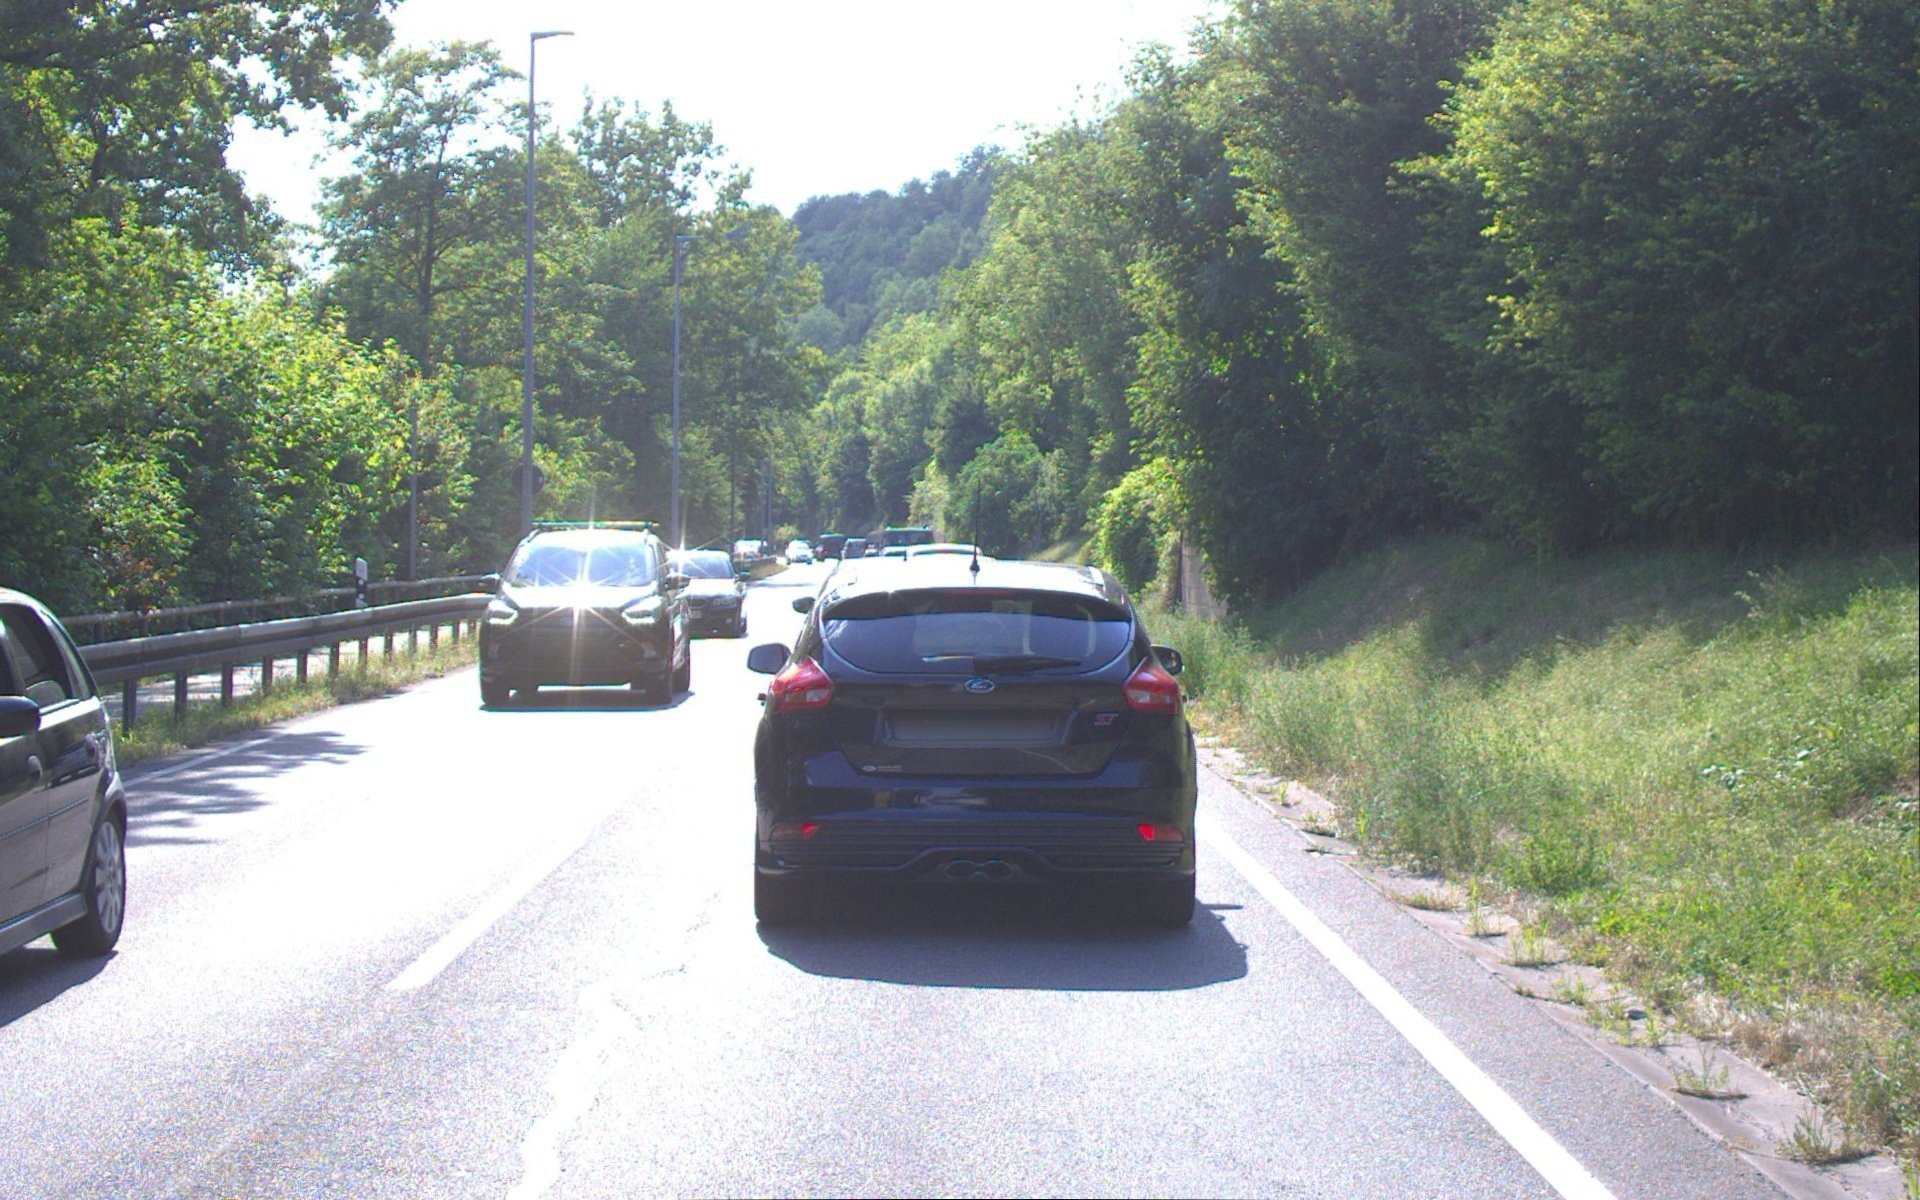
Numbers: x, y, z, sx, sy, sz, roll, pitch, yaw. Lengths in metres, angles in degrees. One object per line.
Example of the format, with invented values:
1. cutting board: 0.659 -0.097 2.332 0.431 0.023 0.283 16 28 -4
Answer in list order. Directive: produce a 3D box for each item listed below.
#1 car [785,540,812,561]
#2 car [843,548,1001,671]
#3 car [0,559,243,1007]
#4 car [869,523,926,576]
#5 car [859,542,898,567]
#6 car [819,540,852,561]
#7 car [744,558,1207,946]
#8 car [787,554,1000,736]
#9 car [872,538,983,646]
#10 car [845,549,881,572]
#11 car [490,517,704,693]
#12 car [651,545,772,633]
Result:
1. car: -11.014 -3.353 234.250 1.622 1.372 4.048 -2 1 -5
2. car: -0.459 0.083 41.340 1.804 1.387 4.000 0 1 -1
3. car: -3.967 0.576 12.998 1.681 1.437 4.000 0 1 0
4. car: -2.189 -1.753 118.985 1.863 1.774 4.001 0 1 -2
5. car: -5.077 -2.822 213.102 1.993 1.514 4.001 0 1 -8
6. car: -8.998 -3.602 248.260 1.993 1.514 4.001 0 1 -8
7. car: 0.038 0.551 15.018 1.739 1.451 4.000 1 1 -1
8. car: -0.498 0.327 29.008 1.661 1.413 4.000 0 1 1
9. car: -0.497 -0.156 52.798 1.631 1.590 4.000 0 1 -1
10. car: -6.639 -2.683 234.134 1.993 1.514 4.001 0 1 -8
11. car: -3.708 0.011 35.761 1.748 1.712 4.221 0 1 0
12. car: -4.189 -0.217 58.457 1.691 1.415 4.142 -1 1 1
